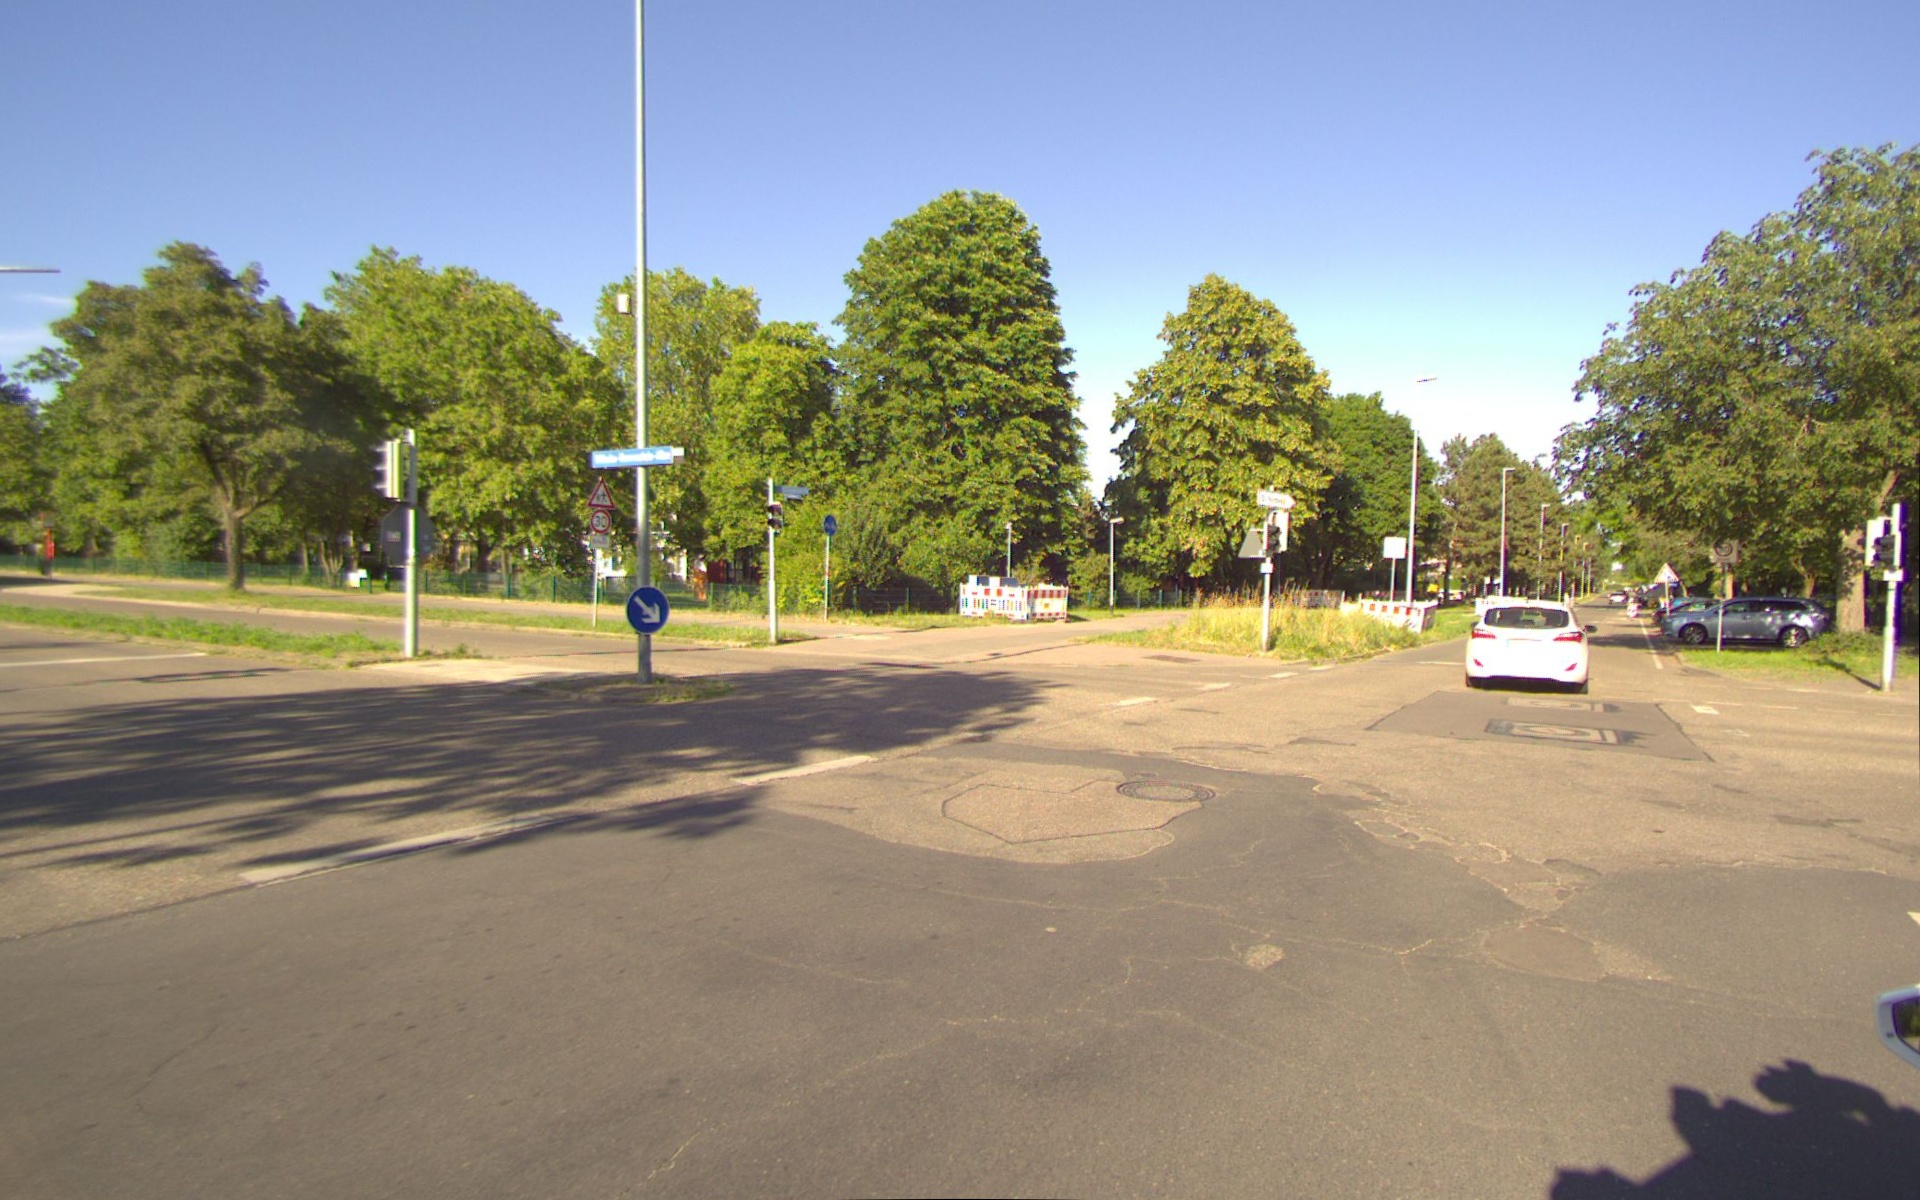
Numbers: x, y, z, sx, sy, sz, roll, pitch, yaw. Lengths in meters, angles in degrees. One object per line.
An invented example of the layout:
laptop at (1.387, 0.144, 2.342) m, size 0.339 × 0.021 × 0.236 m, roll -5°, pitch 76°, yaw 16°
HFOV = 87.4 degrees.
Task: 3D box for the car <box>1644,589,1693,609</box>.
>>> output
car at (68.918, -0.101, 97.755) m, size 3.768 × 1.791 × 1.857 m, roll 4°, pitch 2°, yaw 35°

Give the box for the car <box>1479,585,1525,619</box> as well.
car at (32.317, 0.086, 59.879) m, size 1.967 × 1.840 × 3.987 m, roll -2°, pitch 1°, yaw 34°

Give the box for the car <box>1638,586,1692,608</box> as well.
car at (70.485, -0.268, 100.489) m, size 4.244 × 1.933 × 1.857 m, roll 4°, pitch 2°, yaw 35°

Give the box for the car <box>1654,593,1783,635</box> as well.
car at (33.656, 0.571, 44.715) m, size 4.441 × 1.652 × 1.847 m, roll 3°, pitch 2°, yaw 37°

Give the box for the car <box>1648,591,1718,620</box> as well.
car at (49.926, 0.365, 69.429) m, size 3.768 × 1.706 × 1.857 m, roll 4°, pitch 2°, yaw 35°

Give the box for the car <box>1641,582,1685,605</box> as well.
car at (76.869, -0.695, 109.930) m, size 3.768 × 2.330 × 1.857 m, roll 4°, pitch 2°, yaw 35°

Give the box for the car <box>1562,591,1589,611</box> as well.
car at (60.636, 0.072, 98.924) m, size 1.966 × 1.840 × 3.988 m, roll 4°, pitch 2°, yaw 34°

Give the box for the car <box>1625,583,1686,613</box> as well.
car at (54.331, -0.183, 78.558) m, size 3.768 × 2.126 × 1.857 m, roll 4°, pitch 2°, yaw 35°

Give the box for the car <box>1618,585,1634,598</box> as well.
car at (103.787, -1.302, 156.576) m, size 1.966 × 1.840 × 3.988 m, roll 4°, pitch 2°, yaw 34°

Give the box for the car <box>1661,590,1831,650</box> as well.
car at (26.886, 0.639, 34.553) m, size 4.441 × 1.807 × 1.847 m, roll 3°, pitch 2°, yaw 37°

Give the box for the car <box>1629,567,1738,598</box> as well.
car at (46.250, -1.157, 64.377) m, size 5.538 × 1.706 × 1.942 m, roll 4°, pitch 2°, yaw 35°

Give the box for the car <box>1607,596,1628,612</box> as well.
car at (82.321, 0.463, 125.749) m, size 1.966 × 1.840 × 3.988 m, roll 4°, pitch 2°, yaw 34°

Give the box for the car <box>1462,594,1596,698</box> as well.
car at (9.917, 0.692, 17.479) m, size 1.764 × 1.483 × 3.954 m, roll 3°, pitch 2°, yaw 31°
